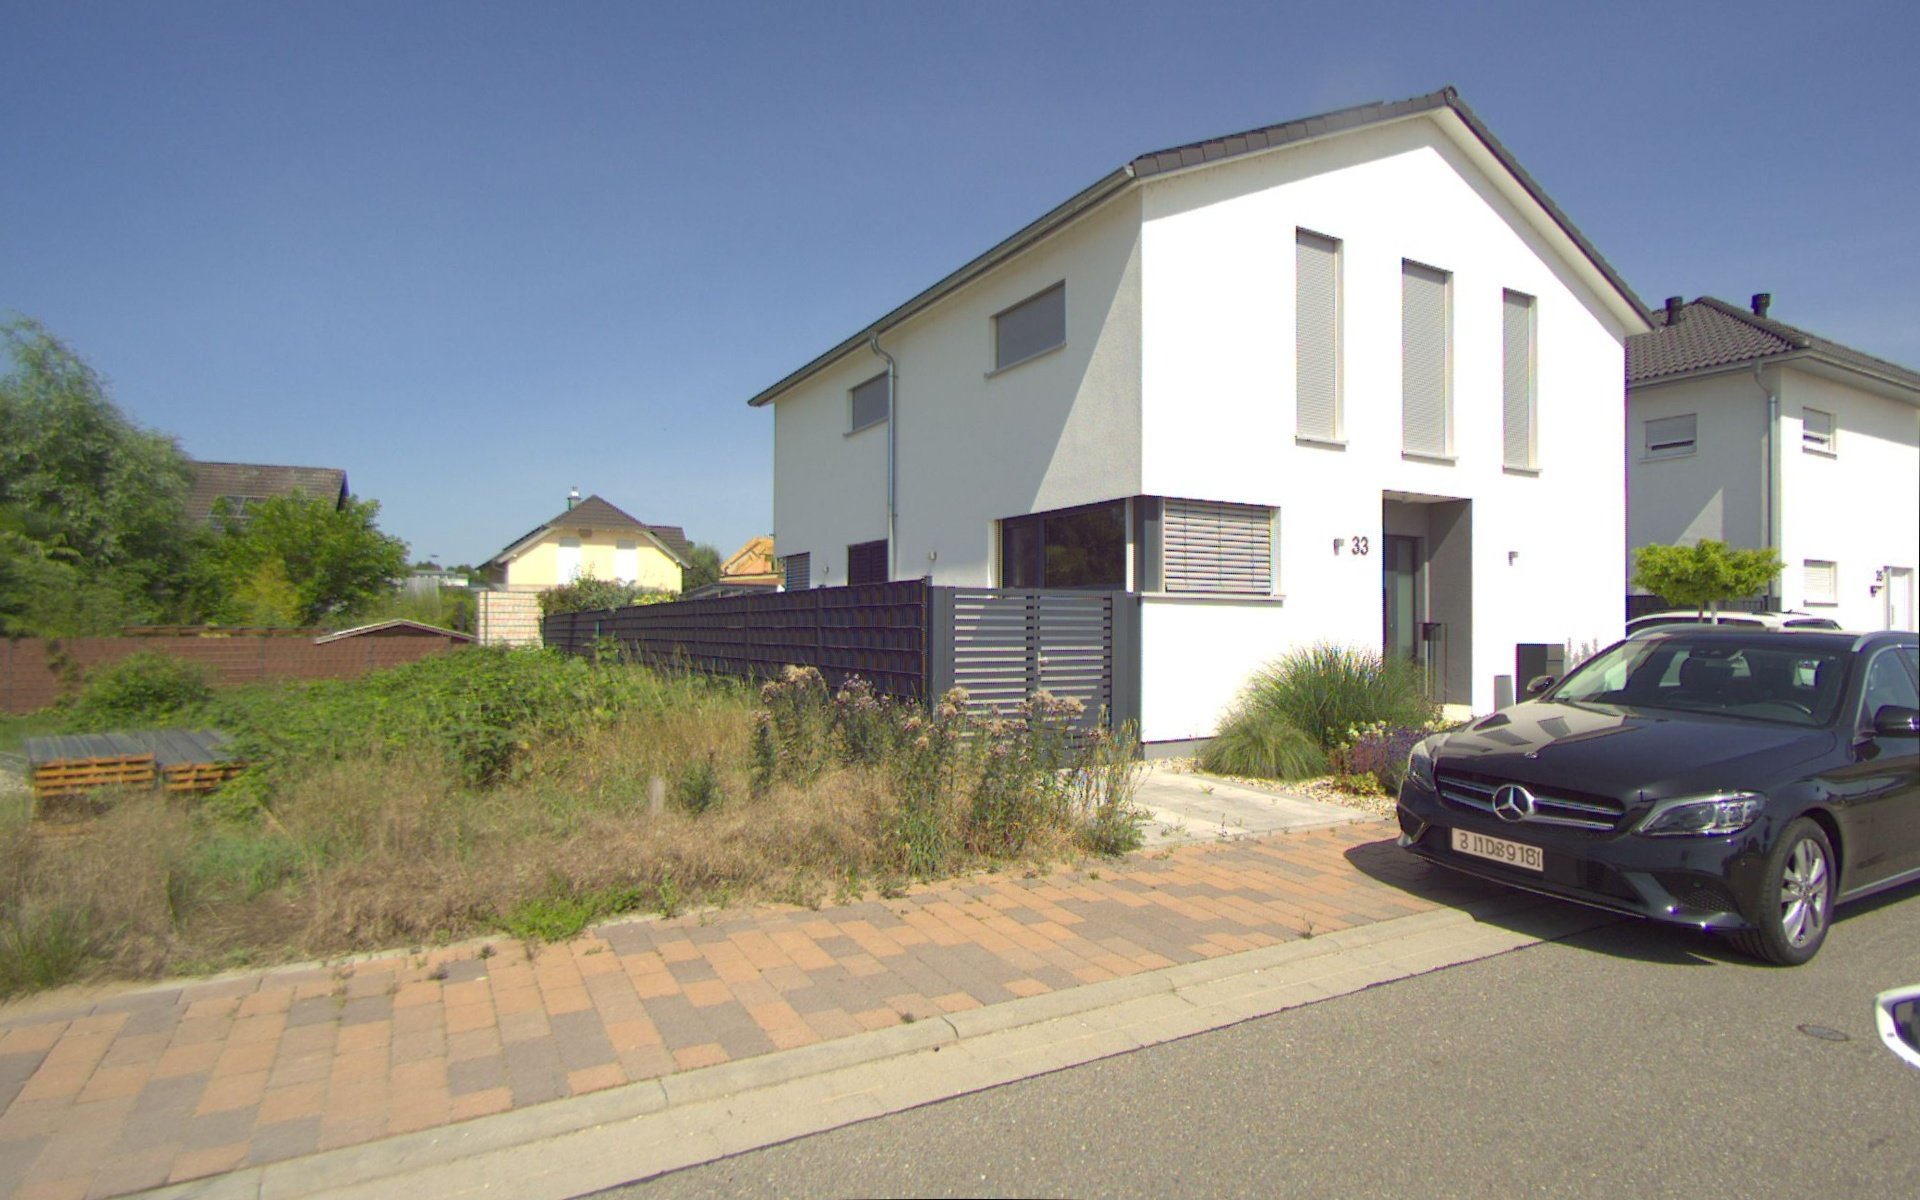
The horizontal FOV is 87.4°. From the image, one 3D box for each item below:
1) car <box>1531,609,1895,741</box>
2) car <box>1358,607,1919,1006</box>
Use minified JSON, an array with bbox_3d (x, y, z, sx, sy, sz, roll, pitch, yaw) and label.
[{"bbox_3d":[10.850,0.972,14.807,1.769,1.641,3.944,1,-1,-25],"label":"car"},{"bbox_3d":[4.461,0.847,5.737,4.392,1.492,1.682,1,1,-30],"label":"car"}]
